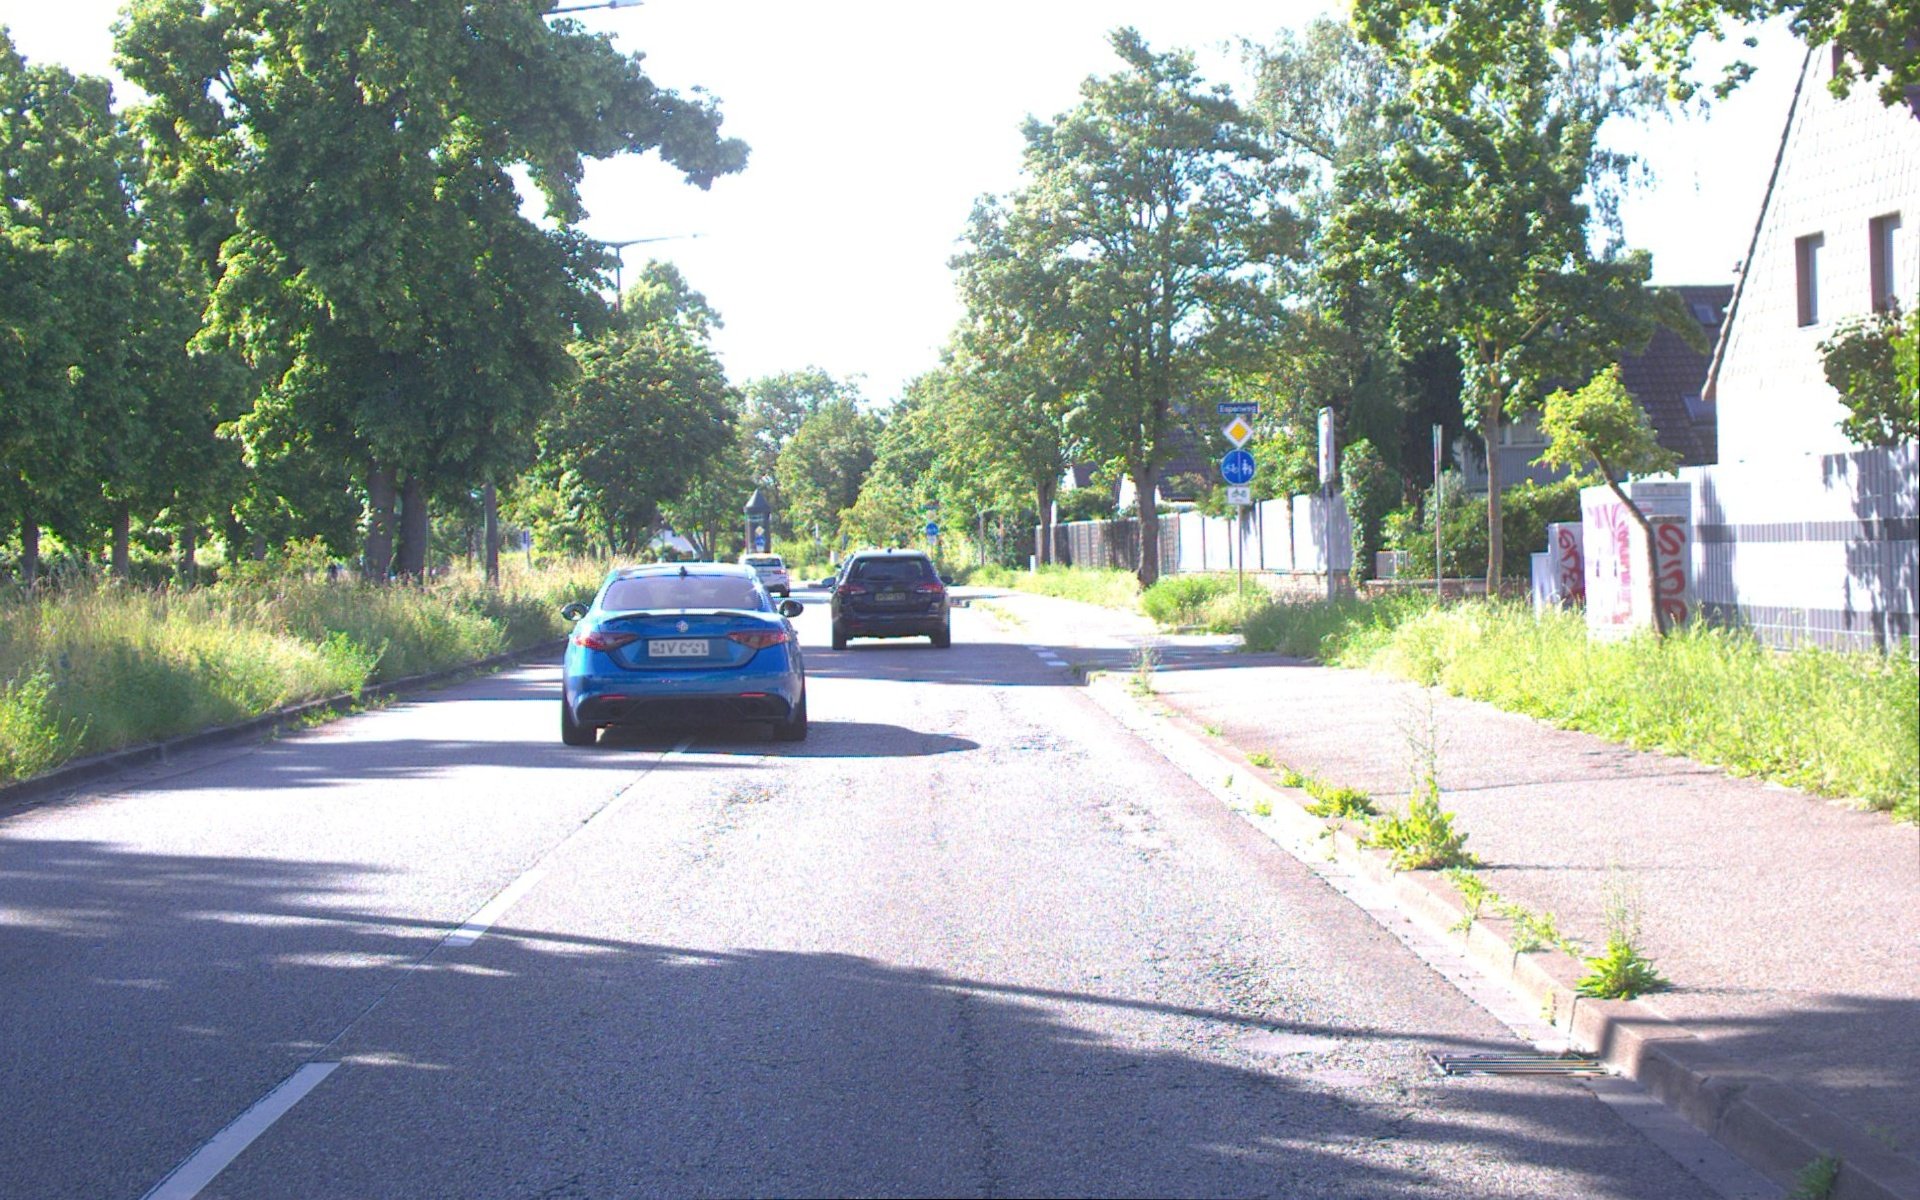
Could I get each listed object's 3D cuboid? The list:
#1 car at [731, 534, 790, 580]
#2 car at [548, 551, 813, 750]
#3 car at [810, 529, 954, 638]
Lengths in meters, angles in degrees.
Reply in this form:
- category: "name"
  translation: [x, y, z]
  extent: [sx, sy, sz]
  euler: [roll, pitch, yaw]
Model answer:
- category: "car"
  translation: [-6.672, -1.451, 115.159]
  extent: [1.915, 1.507, 4.068]
  euler: [-1, 1, -3]
- category: "car"
  translation: [-2.198, 0.350, 28.004]
  extent: [1.838, 1.469, 4.185]
  euler: [0, 1, 0]
- category: "car"
  translation: [-1.224, -0.282, 52.171]
  extent: [1.915, 1.574, 4.183]
  euler: [-1, 1, -5]
